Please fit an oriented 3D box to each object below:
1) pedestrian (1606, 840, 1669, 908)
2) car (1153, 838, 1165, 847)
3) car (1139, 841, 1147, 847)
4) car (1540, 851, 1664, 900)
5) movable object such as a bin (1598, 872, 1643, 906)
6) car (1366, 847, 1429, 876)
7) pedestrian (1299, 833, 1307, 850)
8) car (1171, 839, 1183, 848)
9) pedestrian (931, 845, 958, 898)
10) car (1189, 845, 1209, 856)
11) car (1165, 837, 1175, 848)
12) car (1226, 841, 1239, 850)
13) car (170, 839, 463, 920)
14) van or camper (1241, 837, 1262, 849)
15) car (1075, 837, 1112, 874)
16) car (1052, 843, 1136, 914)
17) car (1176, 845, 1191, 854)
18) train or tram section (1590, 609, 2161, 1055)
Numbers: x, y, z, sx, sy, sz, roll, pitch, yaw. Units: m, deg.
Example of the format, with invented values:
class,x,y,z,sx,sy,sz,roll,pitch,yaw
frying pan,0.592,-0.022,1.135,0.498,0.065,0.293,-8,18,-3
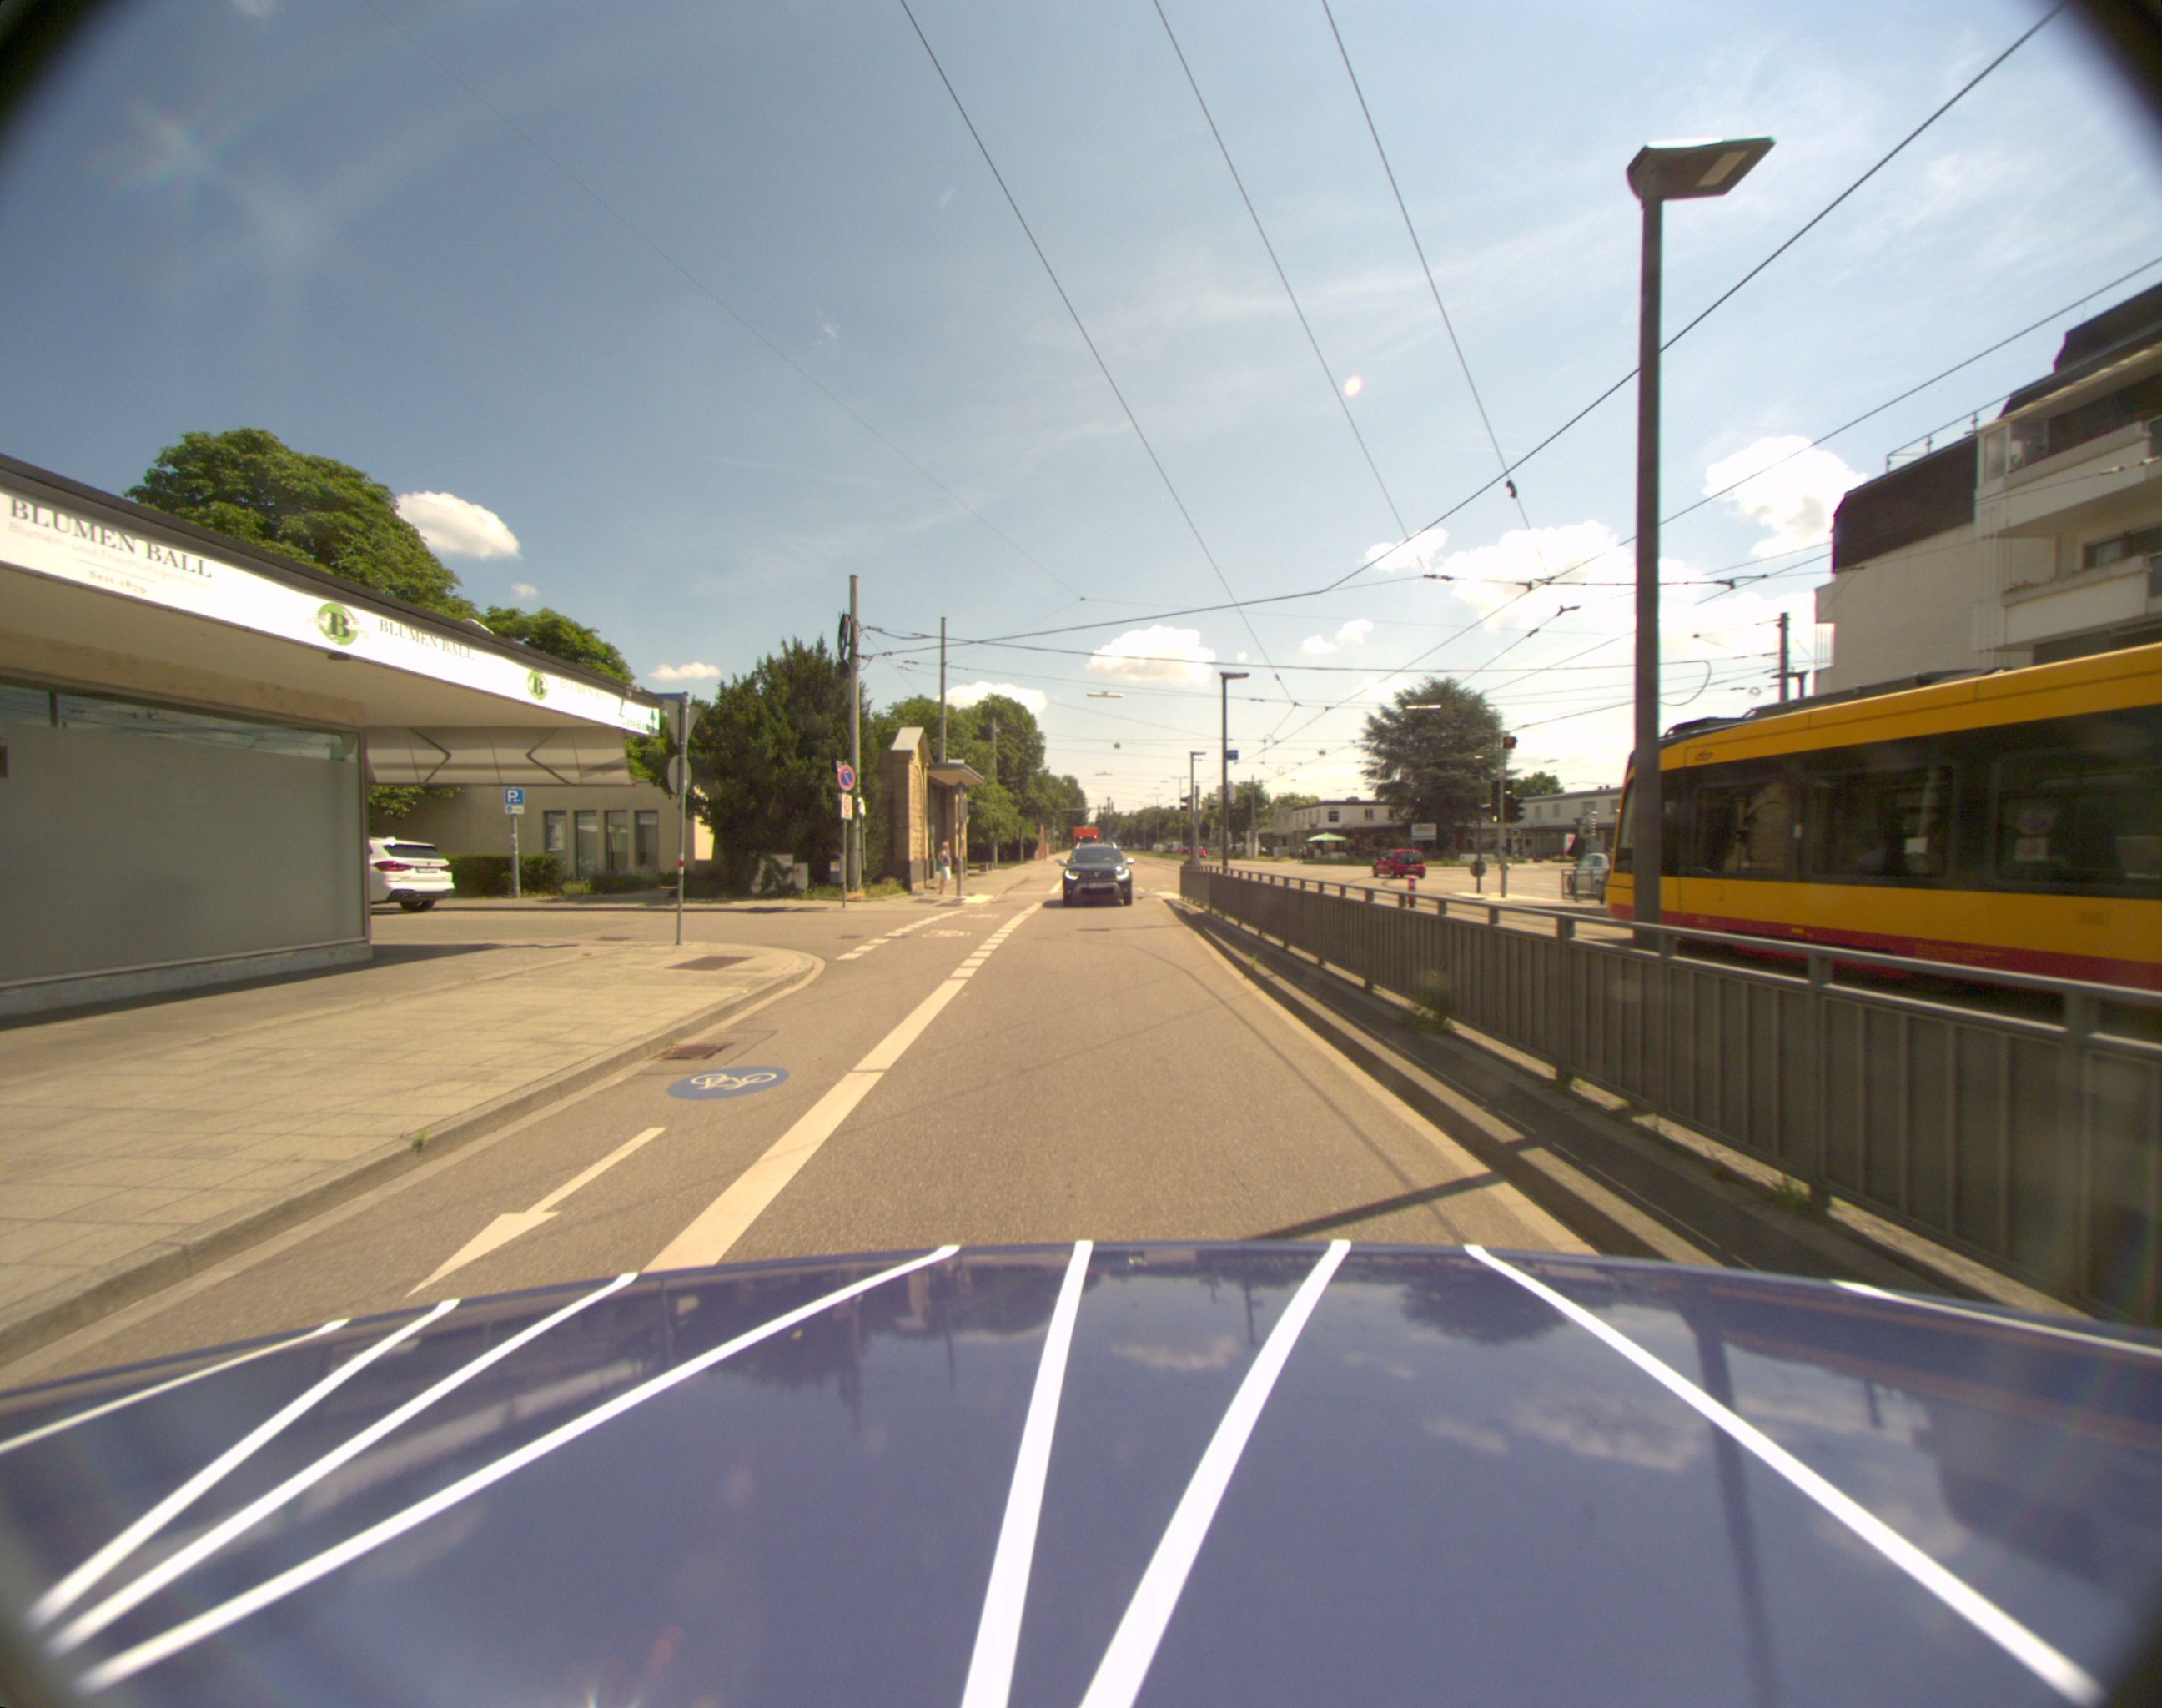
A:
class,x,y,z,sx,sy,sz,roll,pitch,yaw
pedestrian,13.133,0.457,17.970,0.787,1.551,0.920,0,1,0
car,16.031,-2.387,156.665,1.863,1.865,4.553,0,1,-3
car,15.986,-2.518,196.483,1.744,1.587,3.999,0,1,-1
car,17.474,0.675,25.728,1.655,1.448,3.789,2,1,2
movable object such as a bin,13.076,0.841,18.423,0.677,0.776,0.538,0,1,-2
car,16.435,0.373,39.652,1.659,1.436,3.853,0,1,0
pedestrian,23.541,-1.344,80.559,0.488,1.765,0.682,-5,3,-19
car,20.200,-2.188,159.817,1.966,1.953,3.999,0,1,-1
pedestrian,-4.363,0.537,24.253,0.563,1.656,0.682,1,1,23
car,16.253,-0.502,104.709,1.998,1.441,4.821,0,1,1
car,20.527,-2.691,174.614,1.744,2.573,3.999,0,1,-1
car,29.881,-1.689,150.121,1.744,1.684,3.999,0,1,-1
car,-16.409,0.533,16.489,4.413,1.646,1.944,0,-1,1
van or camper,45.261,-2.939,202.137,5.157,3.100,2.247,0,1,0
car,0.759,0.050,43.592,1.998,2.002,4.000,0,1,3
car,0.460,0.545,19.862,1.845,1.565,4.488,1,2,5
car,16.477,-0.722,122.177,1.784,1.346,3.999,0,1,-1
train or tram section,10.225,-0.099,2.582,3.259,3.547,20.495,0,1,0
